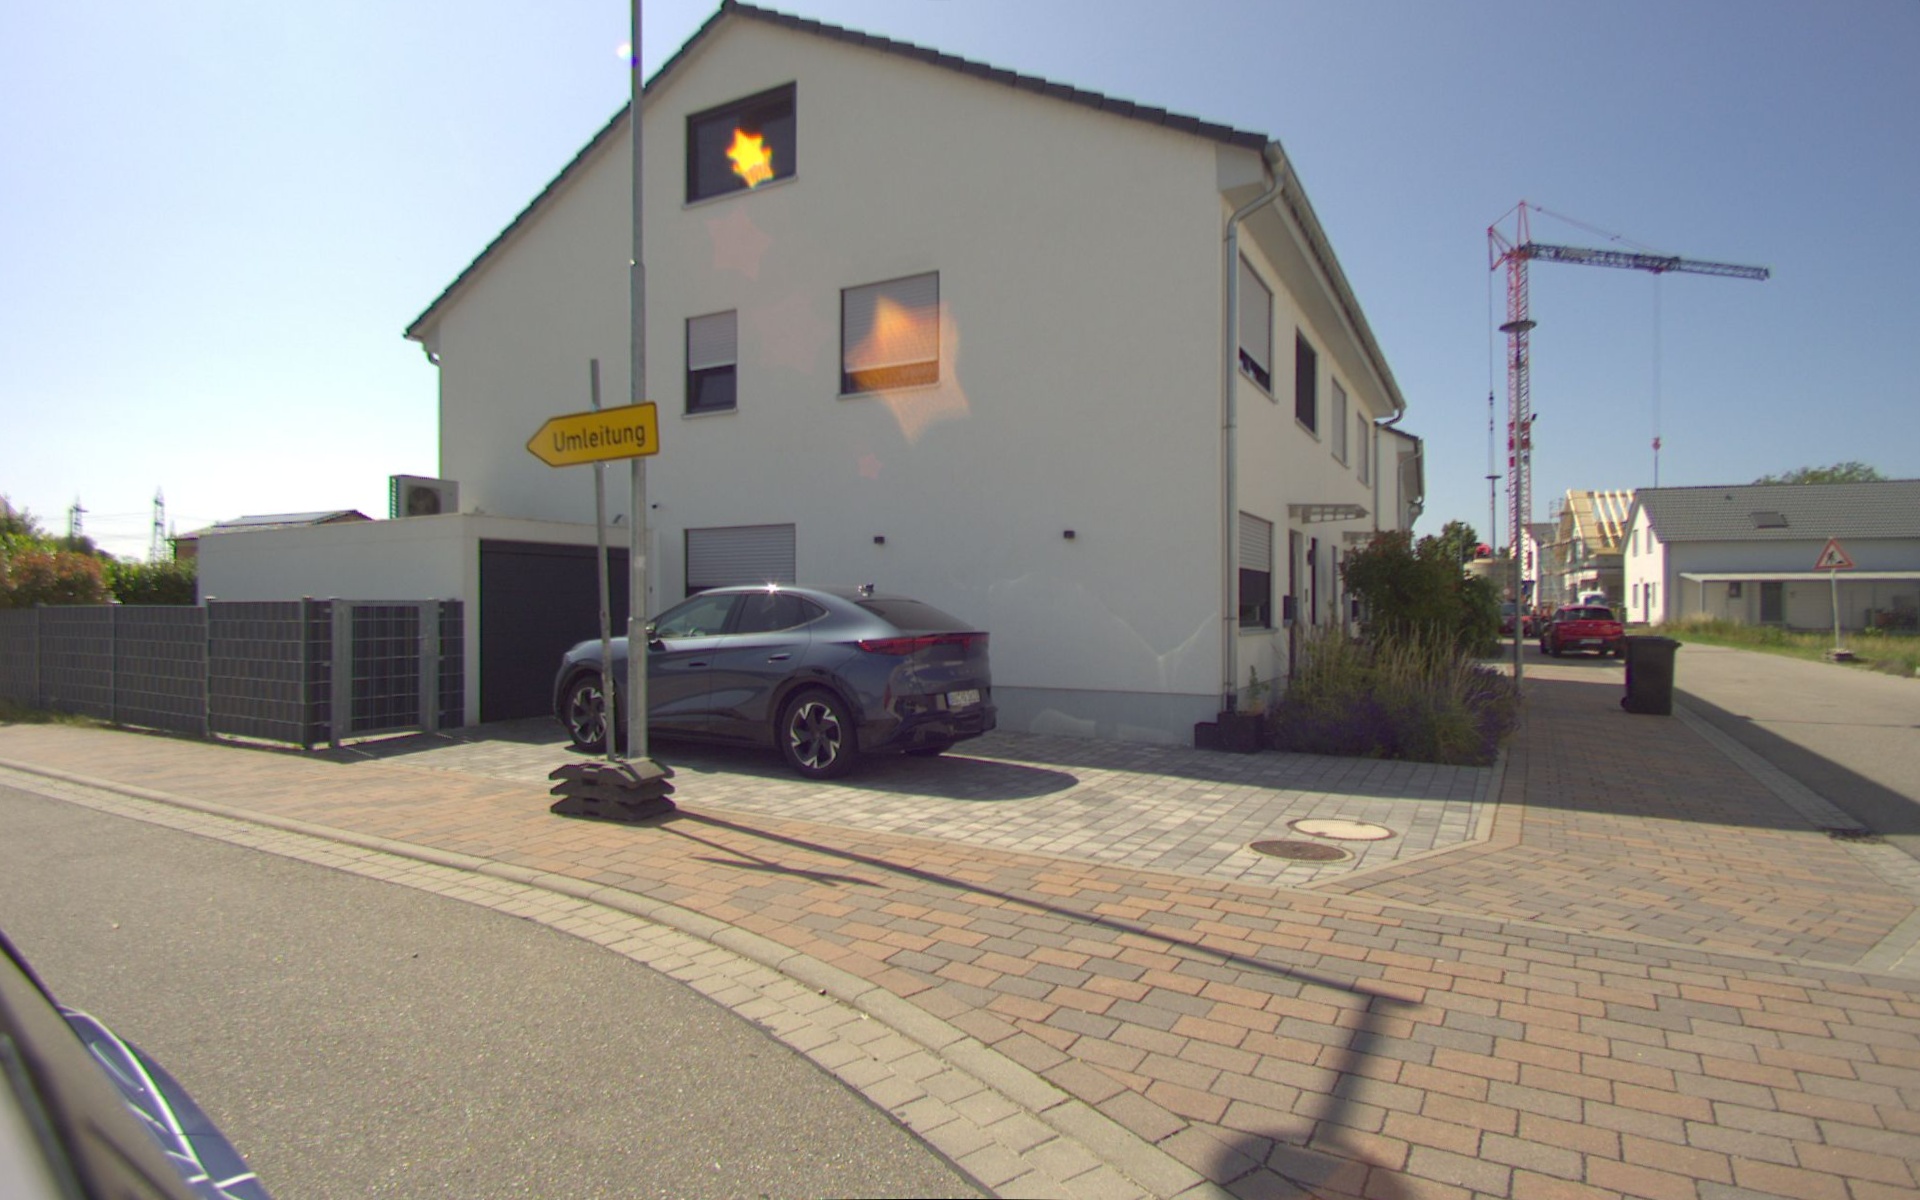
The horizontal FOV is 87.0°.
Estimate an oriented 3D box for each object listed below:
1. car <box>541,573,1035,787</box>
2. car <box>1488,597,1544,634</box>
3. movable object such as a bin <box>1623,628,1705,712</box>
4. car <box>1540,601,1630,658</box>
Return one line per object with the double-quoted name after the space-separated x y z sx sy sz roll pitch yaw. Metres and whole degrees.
-1.668 0.632 9.412 4.335 1.570 1.940 -1 -2 31 "car"
25.782 0.687 47.038 1.791 1.630 3.649 -1 0 22 "car"
9.502 0.925 13.683 0.820 1.072 0.584 -1 0 28 "movable object such as a bin"
17.931 0.802 29.216 1.903 1.490 3.962 -1 0 28 "car"
